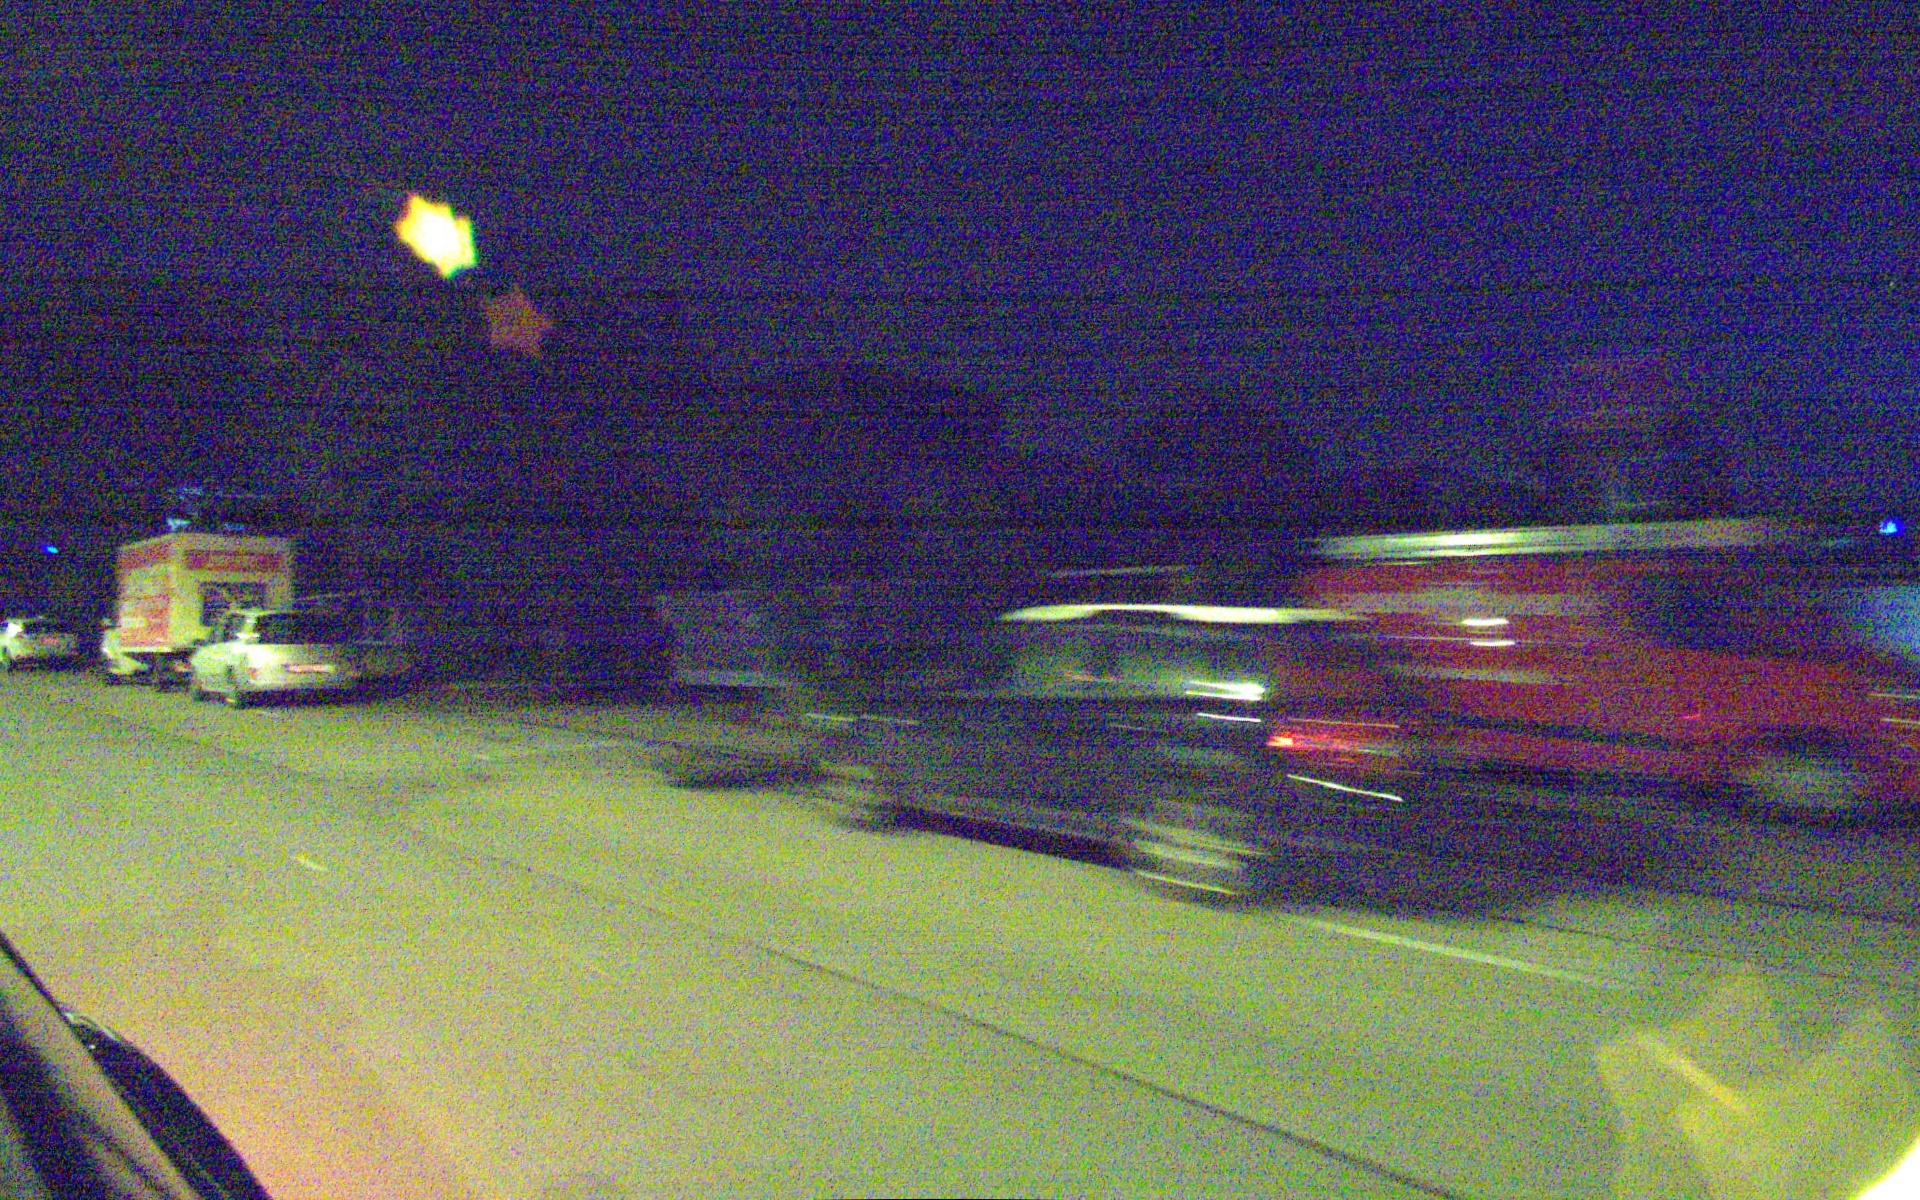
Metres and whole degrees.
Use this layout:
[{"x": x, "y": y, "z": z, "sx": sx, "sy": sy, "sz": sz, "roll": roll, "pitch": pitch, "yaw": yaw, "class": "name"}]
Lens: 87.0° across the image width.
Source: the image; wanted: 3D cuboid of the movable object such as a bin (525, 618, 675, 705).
[{"x": -6.737, "y": 1.104, "z": 18.990, "sx": 2.308, "sy": 1.506, "sz": 1.417, "roll": 1, "pitch": -2, "yaw": -42, "class": "movable object such as a bin"}]

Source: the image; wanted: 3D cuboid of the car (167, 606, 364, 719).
[{"x": -12.938, "y": 1.088, "z": 18.721, "sx": 4.835, "sy": 1.830, "sz": 1.810, "roll": -2, "pitch": -2, "yaw": 41, "class": "car"}]

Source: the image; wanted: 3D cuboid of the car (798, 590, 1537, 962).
[{"x": 0.953, "y": 0.791, "z": 6.365, "sx": 1.734, "sy": 1.538, "sz": 4.325, "roll": 1, "pitch": -2, "yaw": -44, "class": "car"}]

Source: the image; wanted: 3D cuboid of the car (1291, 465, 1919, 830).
[{"x": 5.575, "y": 0.390, "z": 8.507, "sx": 1.970, "sy": 2.339, "sz": 4.970, "roll": 3, "pitch": -4, "yaw": -44, "class": "car"}]

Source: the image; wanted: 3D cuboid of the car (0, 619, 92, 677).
[{"x": -30.733, "y": 1.532, "z": 33.308, "sx": 4.676, "sy": 1.785, "sz": 1.978, "roll": -1, "pitch": -2, "yaw": 32, "class": "car"}]

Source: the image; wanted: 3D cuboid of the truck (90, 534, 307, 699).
[{"x": -17.870, "y": 0.429, "z": 23.558, "sx": 7.307, "sy": 3.305, "sz": 2.517, "roll": -2, "pitch": -2, "yaw": 41, "class": "truck"}]

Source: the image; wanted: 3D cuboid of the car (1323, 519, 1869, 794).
[{"x": 6.686, "y": 0.557, "z": 11.031, "sx": 2.182, "sy": 2.339, "sz": 4.627, "roll": 2, "pitch": -3, "yaw": -44, "class": "car"}]
